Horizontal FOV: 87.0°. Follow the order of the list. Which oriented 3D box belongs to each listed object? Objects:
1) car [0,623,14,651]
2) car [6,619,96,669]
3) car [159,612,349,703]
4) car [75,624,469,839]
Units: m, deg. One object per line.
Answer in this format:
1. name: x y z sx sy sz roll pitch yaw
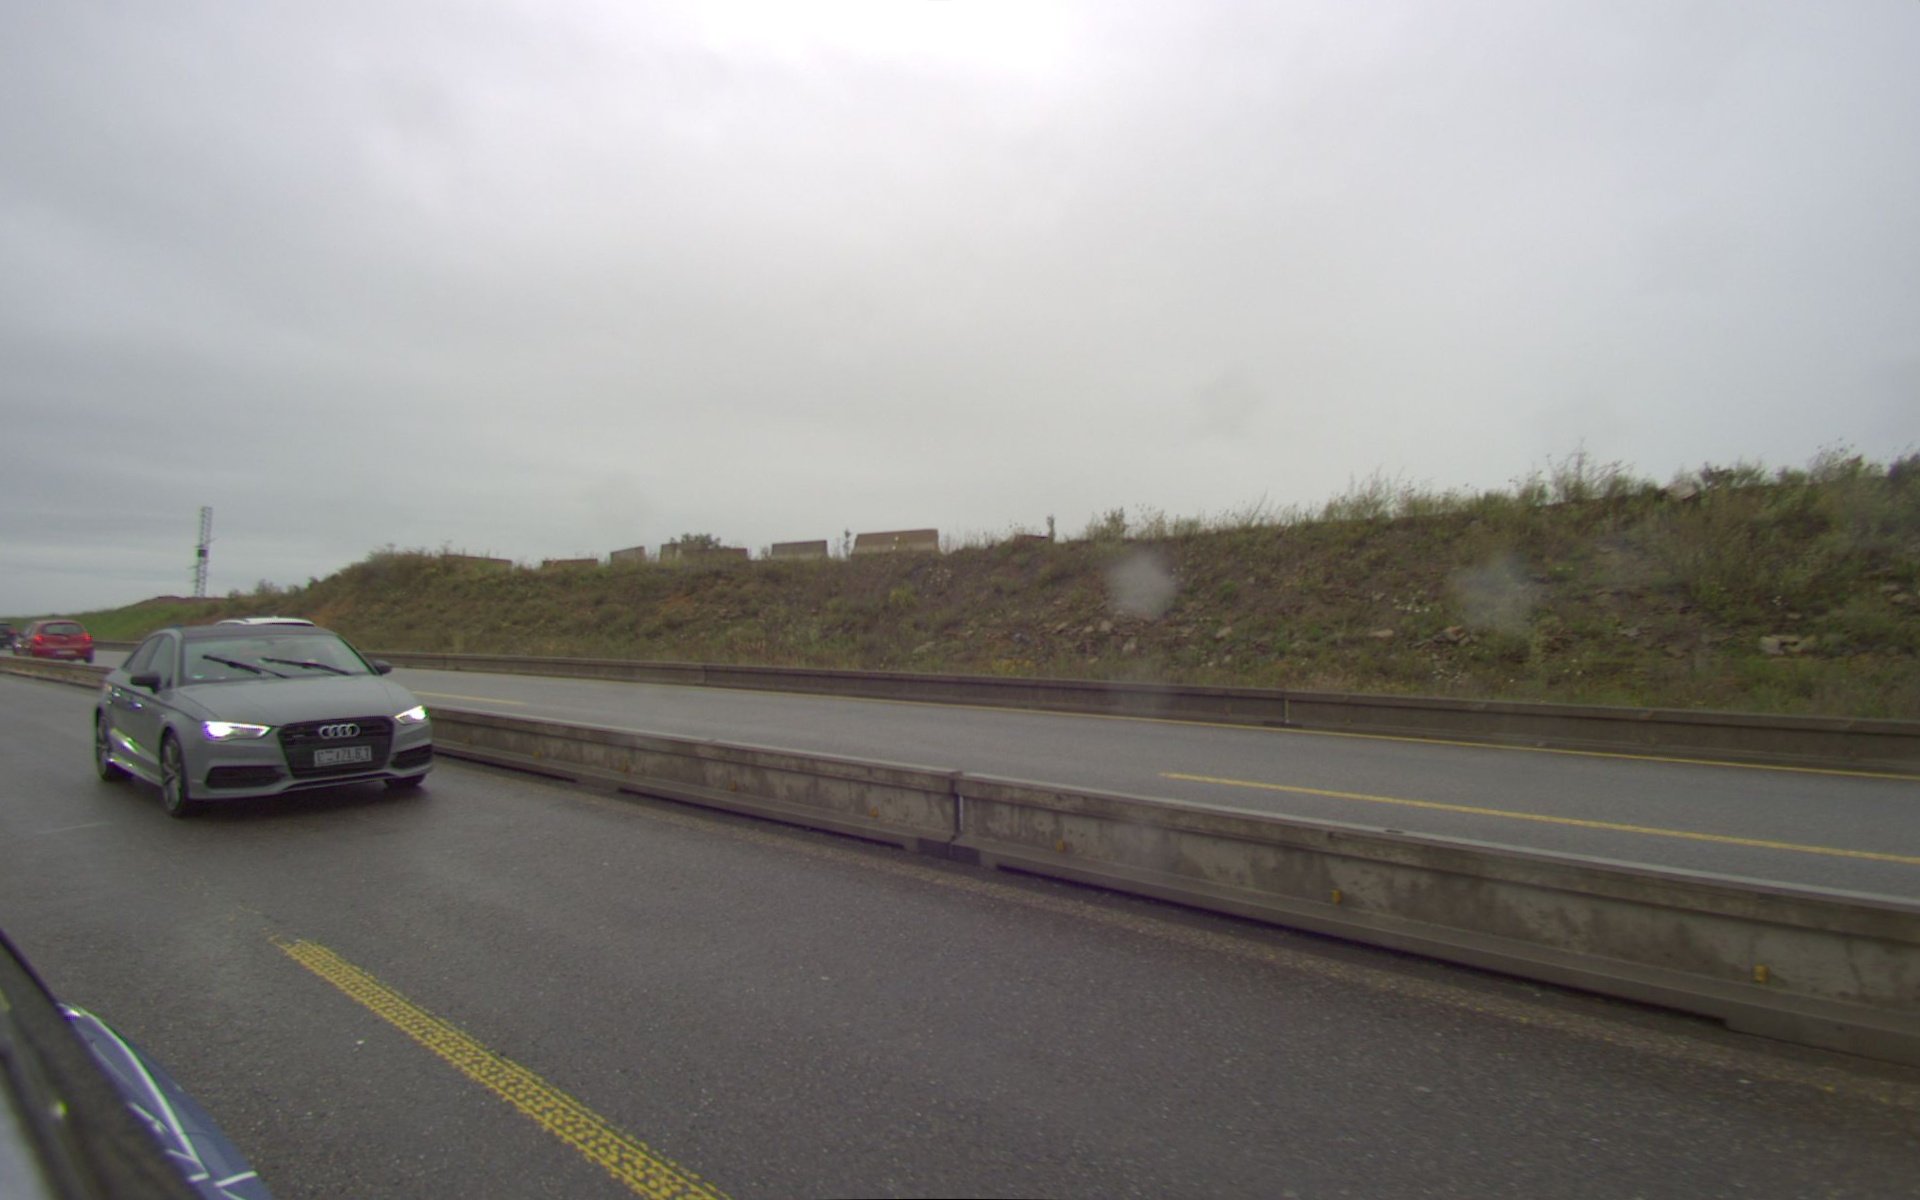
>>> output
1. car: -52.154 1.962 54.101 4.668 1.454 1.750 -1 0 40
2. car: -31.039 1.464 34.527 3.716 1.589 1.710 -1 -1 38
3. car: -14.711 1.093 20.968 4.986 1.645 2.025 -1 -1 40
4. car: -6.102 0.932 8.800 4.084 1.393 1.782 -1 -1 40
